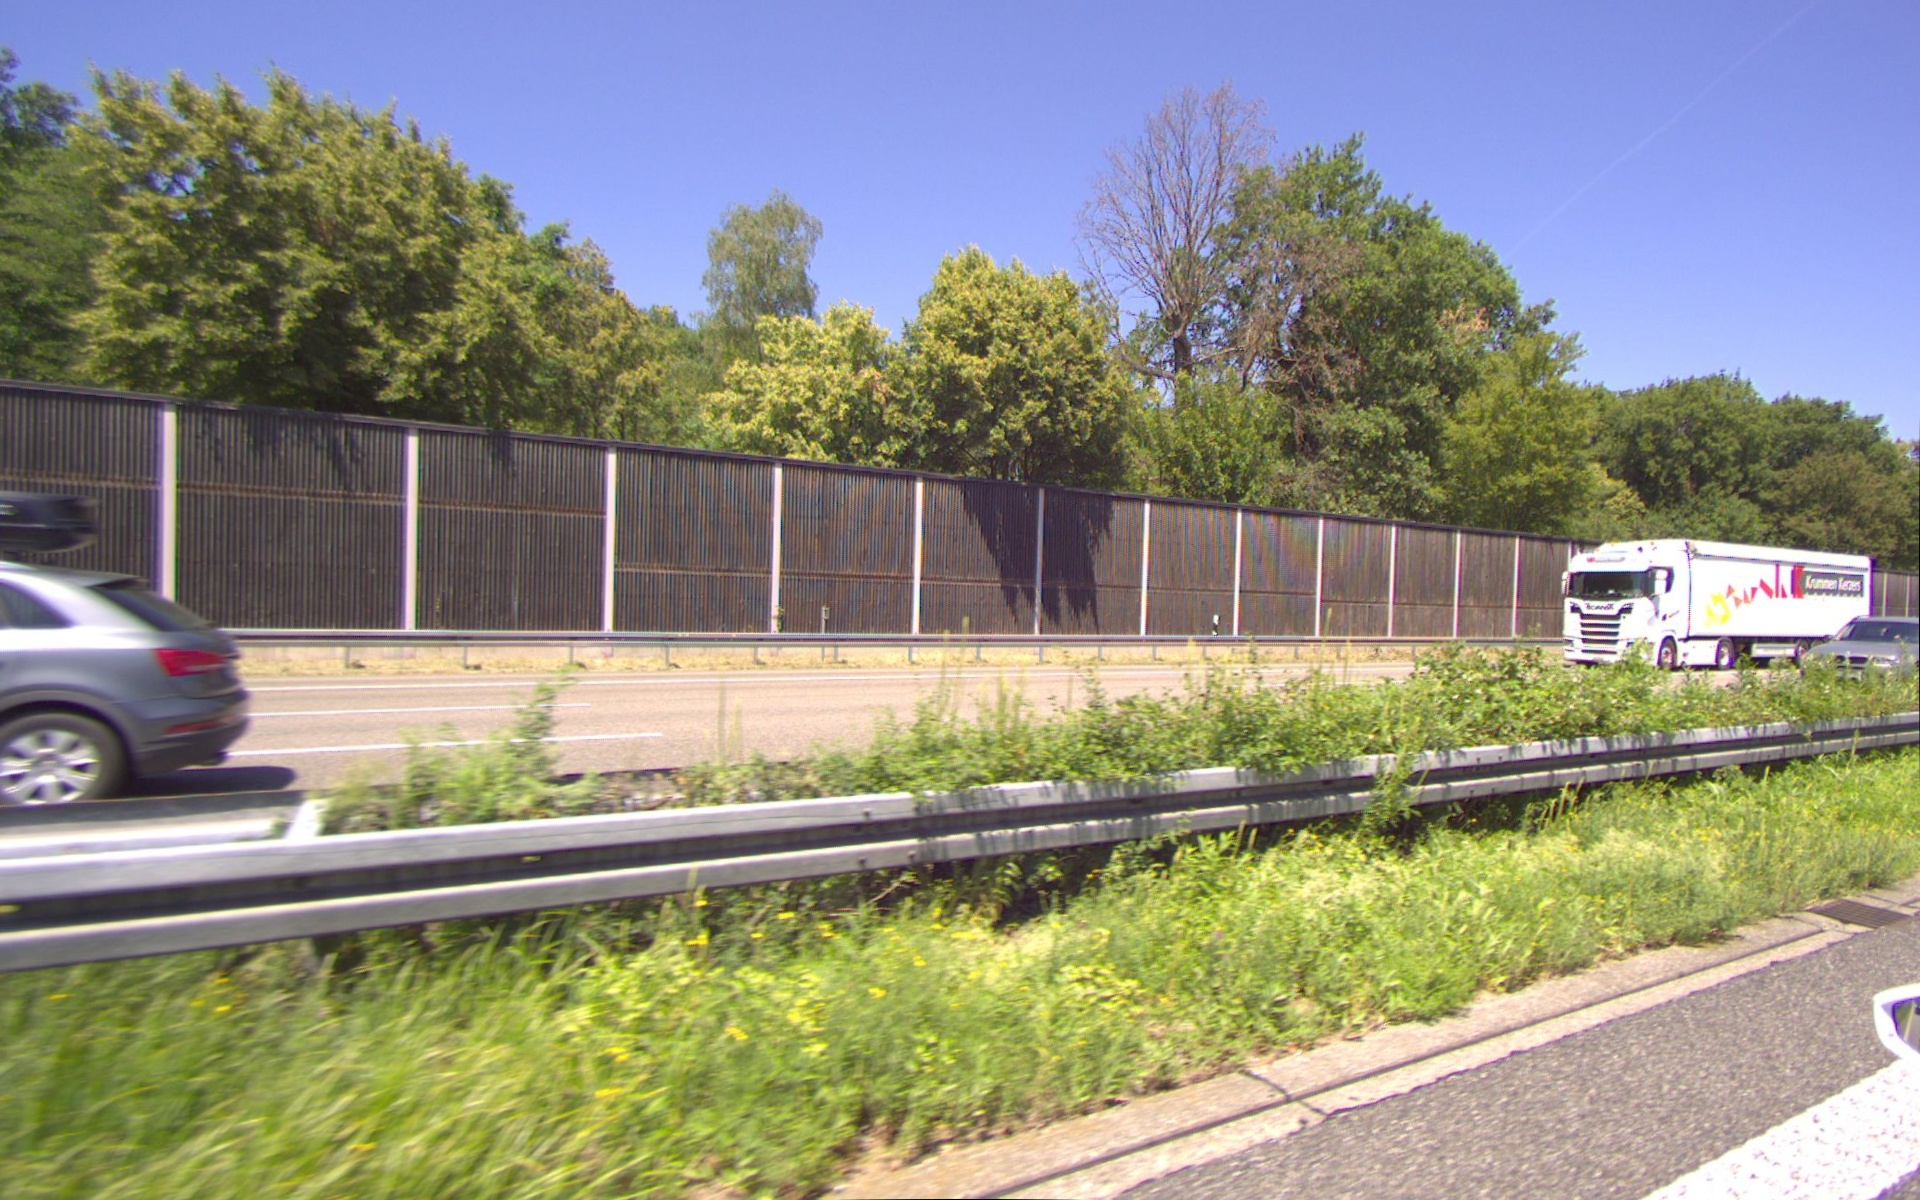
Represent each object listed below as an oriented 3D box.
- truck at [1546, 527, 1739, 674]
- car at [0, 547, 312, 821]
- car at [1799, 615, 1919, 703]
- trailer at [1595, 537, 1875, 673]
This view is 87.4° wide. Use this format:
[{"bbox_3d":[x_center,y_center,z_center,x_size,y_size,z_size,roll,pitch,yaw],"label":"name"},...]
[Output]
[{"bbox_3d":[21.609,0.082,31.741,5.966,4.248,2.716,2,0,-31],"label":"truck"},{"bbox_3d":[-6.543,0.458,6.069,4.311,1.564,1.704,2,0,-31],"label":"car"},{"bbox_3d":[19.606,1.186,21.131,3.992,1.673,1.757,1,0,-31],"label":"car"},{"bbox_3d":[27.610,0.333,35.354,14.223,4.129,2.740,2,0,-31],"label":"trailer"}]
